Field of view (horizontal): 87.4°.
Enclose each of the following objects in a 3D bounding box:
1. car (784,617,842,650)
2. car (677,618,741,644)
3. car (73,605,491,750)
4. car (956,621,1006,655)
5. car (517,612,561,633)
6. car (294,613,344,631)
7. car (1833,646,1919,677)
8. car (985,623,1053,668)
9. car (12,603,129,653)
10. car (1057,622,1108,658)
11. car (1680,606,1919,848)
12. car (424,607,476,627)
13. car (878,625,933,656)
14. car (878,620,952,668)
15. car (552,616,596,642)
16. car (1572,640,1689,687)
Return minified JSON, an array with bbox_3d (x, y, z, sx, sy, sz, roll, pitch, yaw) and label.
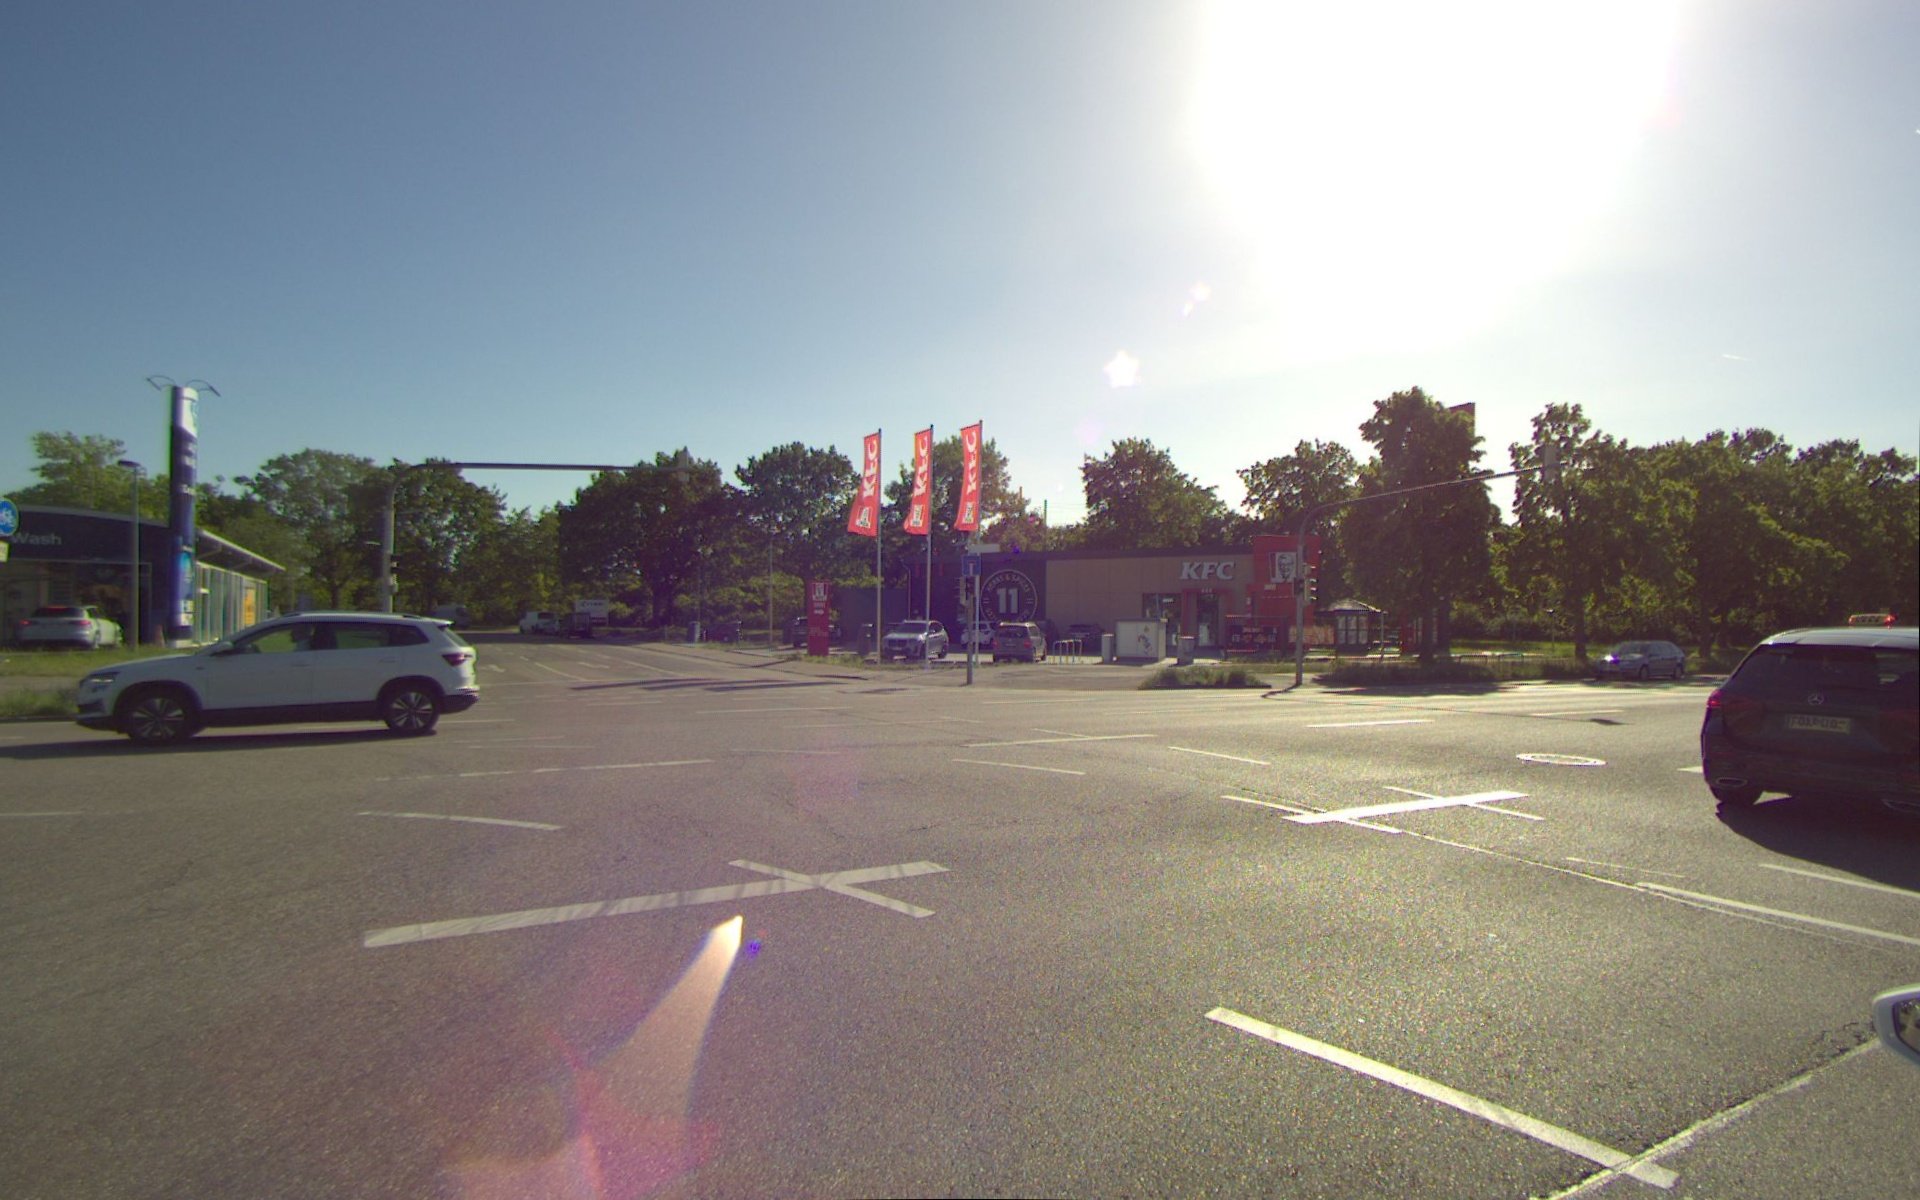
[{"bbox_3d":[-8.347,1.935,57.434,1.880,1.764,4.304,0,-2,12],"label":"car"},{"bbox_3d":[-18.721,2.286,74.866,4.213,1.867,1.911,0,-2,14],"label":"car"},{"bbox_3d":[-8.548,0.972,13.142,4.216,1.620,1.887,2,-3,-30],"label":"car"},{"bbox_3d":[1.209,2.078,55.153,1.845,1.771,4.002,0,-2,15],"label":"car"},{"bbox_3d":[-36.378,1.969,86.750,4.241,1.690,1.898,-2,-3,44],"label":"car"},{"bbox_3d":[-68.828,2.393,107.844,4.693,1.823,2.102,0,-2,20],"label":"car"},{"bbox_3d":[44.317,2.938,47.835,4.546,1.394,1.994,1,-2,-15],"label":"car"},{"bbox_3d":[2.545,1.880,42.281,1.857,1.684,4.134,2,0,17],"label":"car"},{"bbox_3d":[-27.932,0.913,31.679,1.879,1.451,4.088,2,-3,-29],"label":"car"},{"bbox_3d":[6.433,2.040,52.493,1.857,1.684,4.243,2,0,17],"label":"car"},{"bbox_3d":[8.028,0.929,8.412,4.175,1.619,1.699,2,0,-31],"label":"car"},{"bbox_3d":[-49.703,1.676,97.834,4.699,1.823,2.099,-1,-3,27],"label":"car"},{"bbox_3d":[-2.980,2.242,56.053,1.845,1.539,4.002,2,0,15],"label":"car"},{"bbox_3d":[-1.873,1.845,43.391,1.811,1.875,3.830,2,0,20],"label":"car"},{"bbox_3d":[-29.550,2.227,76.887,1.894,1.867,4.252,2,-3,-39],"label":"car"},{"bbox_3d":[24.567,2.280,36.779,4.147,1.546,1.984,1,-1,-31],"label":"car"}]
